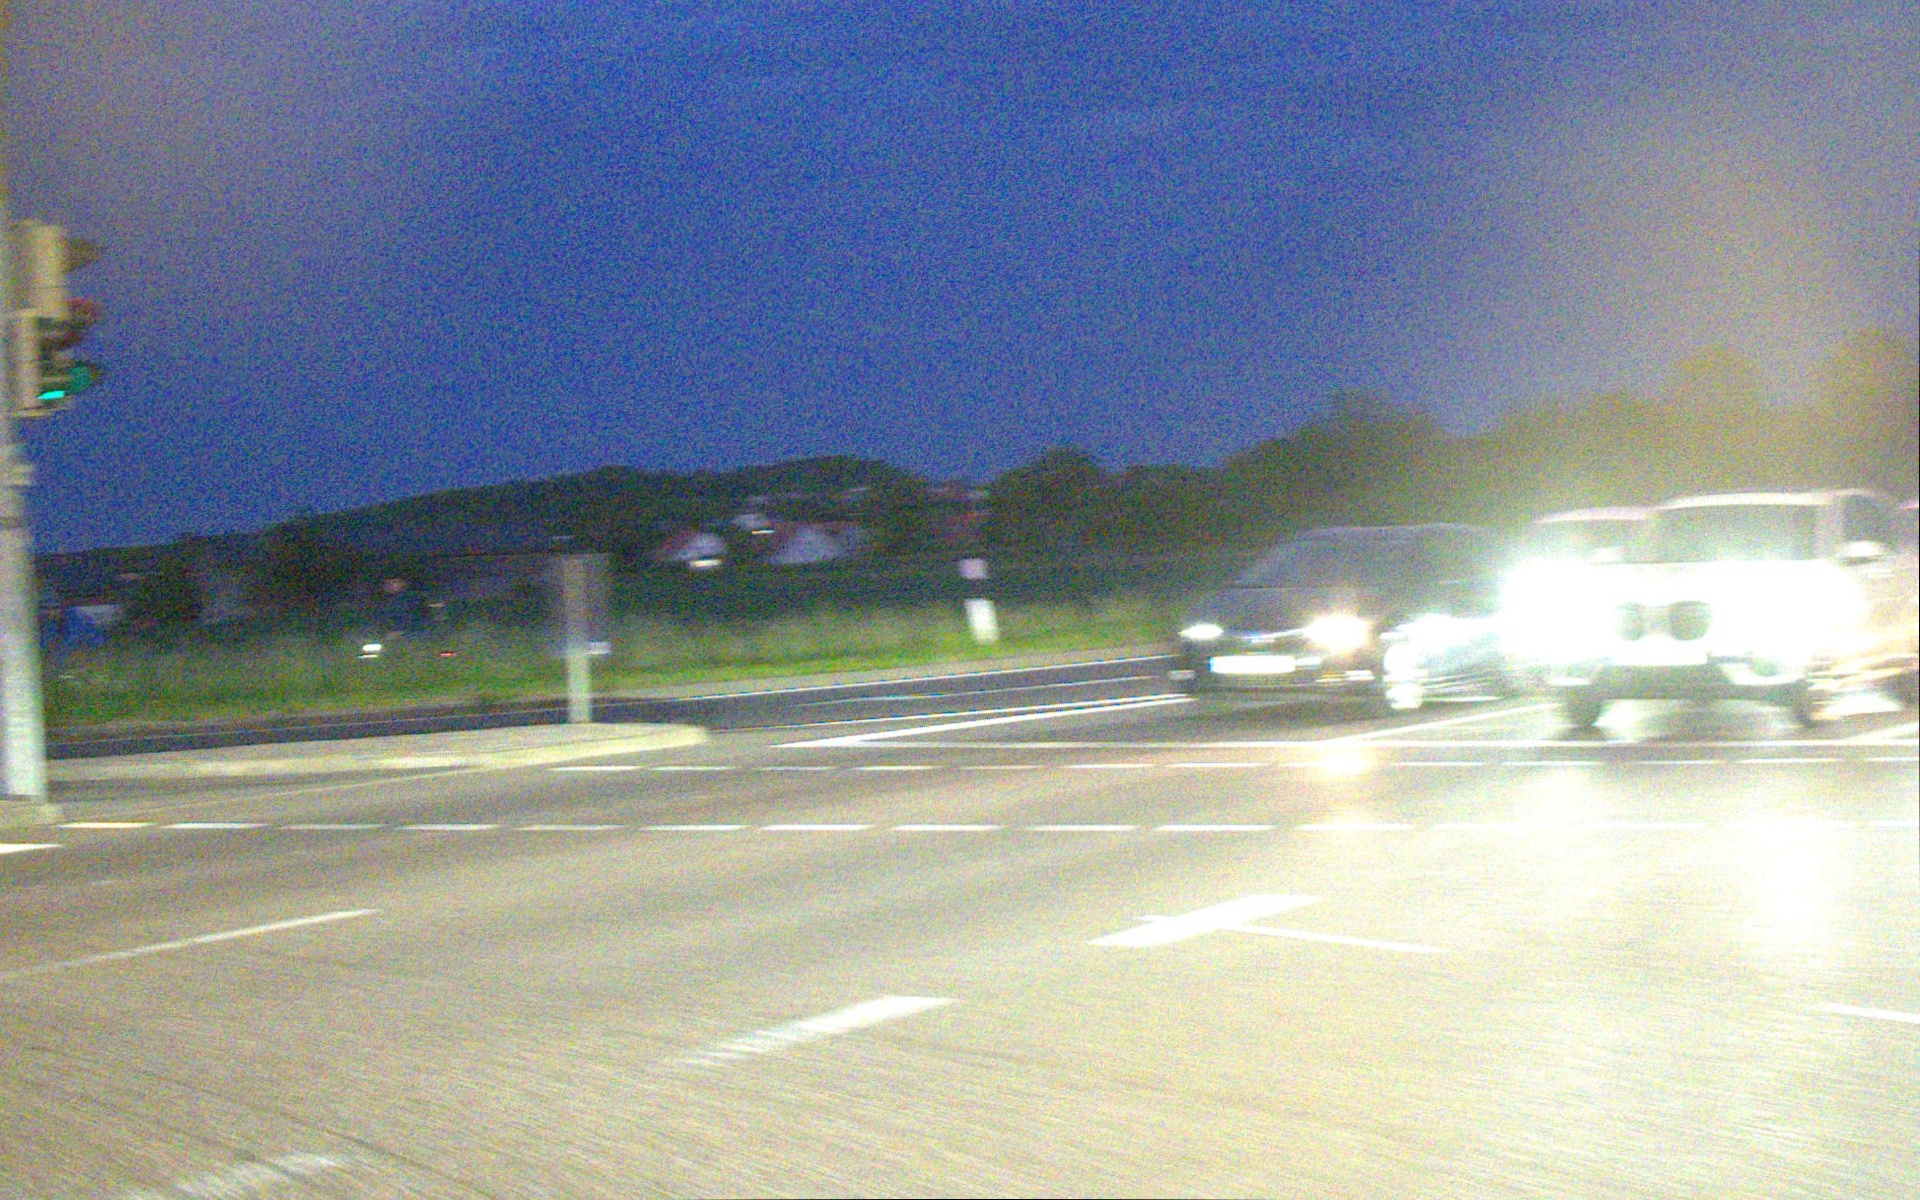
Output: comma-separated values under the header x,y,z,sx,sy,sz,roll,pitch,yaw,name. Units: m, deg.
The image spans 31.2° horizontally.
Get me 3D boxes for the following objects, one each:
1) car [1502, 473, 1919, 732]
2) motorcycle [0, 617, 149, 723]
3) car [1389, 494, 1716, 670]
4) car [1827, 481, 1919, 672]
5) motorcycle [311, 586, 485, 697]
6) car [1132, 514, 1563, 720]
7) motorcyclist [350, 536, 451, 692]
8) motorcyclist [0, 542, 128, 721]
x,y,z,sx,sy,sz,roll,pitch,yaw,name
5.656,-0.046,24.909,1.911,1.676,4.413,-1,2,30,car
-9.518,0.741,36.487,1.573,1.030,0.722,-1,-5,-45,motorcycle
5.806,-0.206,33.316,1.834,1.519,3.994,-2,1,29,car
9.389,-0.285,31.245,1.748,1.621,4.356,-1,2,30,car
-6.532,0.476,40.045,0.849,1.177,1.817,-7,-3,39,motorcycle
3.205,0.089,27.679,1.783,1.441,4.284,-1,2,31,car
-6.523,0.164,40.068,0.683,1.753,0.788,-7,-4,39,motorcyclist
-9.522,0.334,36.539,0.868,1.803,0.916,-1,-5,-45,motorcyclist
